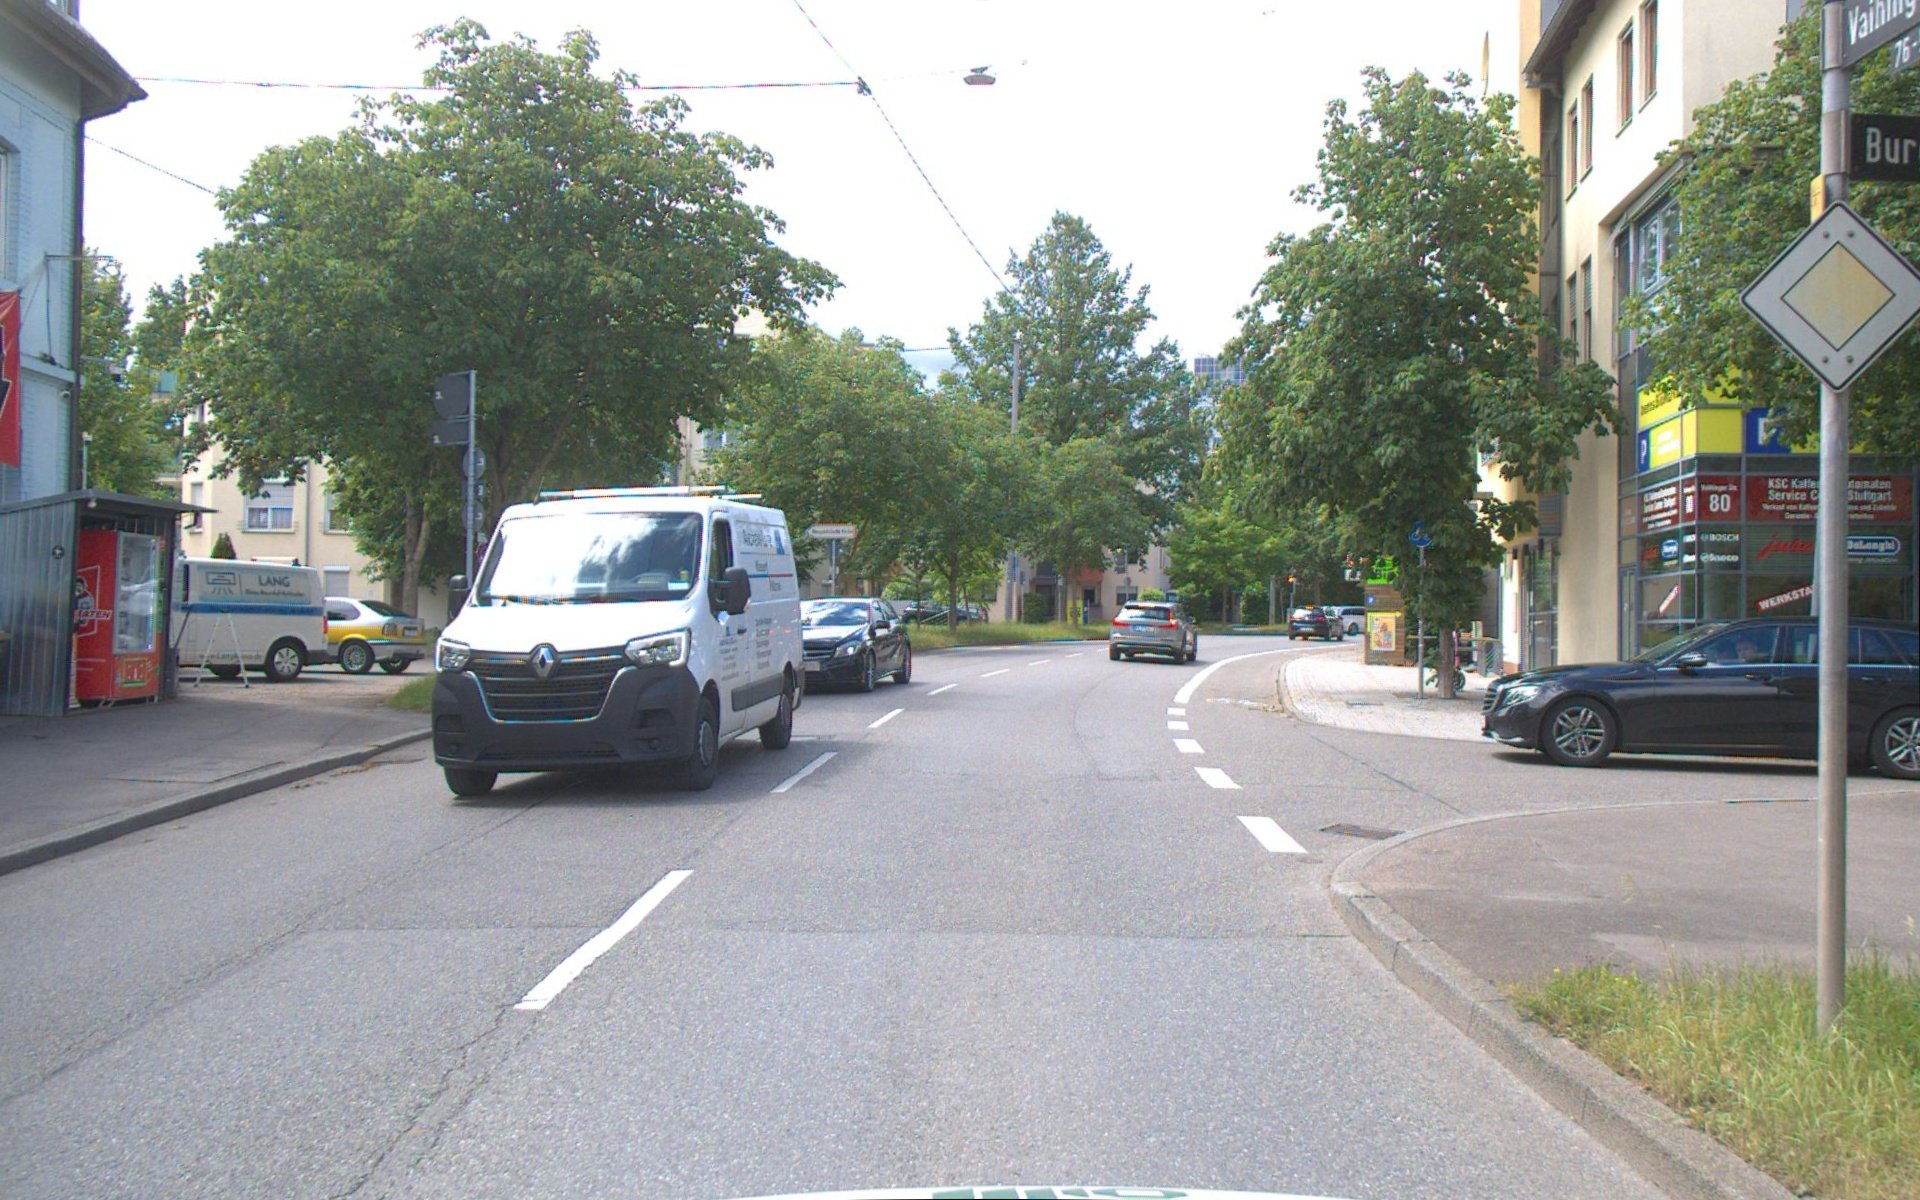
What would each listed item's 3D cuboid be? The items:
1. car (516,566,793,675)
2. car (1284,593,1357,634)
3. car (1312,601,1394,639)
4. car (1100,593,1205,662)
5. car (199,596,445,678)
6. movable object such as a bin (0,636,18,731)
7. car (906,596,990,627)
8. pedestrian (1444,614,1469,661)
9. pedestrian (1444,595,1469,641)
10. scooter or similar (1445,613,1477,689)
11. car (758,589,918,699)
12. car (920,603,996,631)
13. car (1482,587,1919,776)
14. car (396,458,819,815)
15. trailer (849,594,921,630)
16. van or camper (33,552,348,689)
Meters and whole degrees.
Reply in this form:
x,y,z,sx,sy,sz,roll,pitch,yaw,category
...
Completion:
x,y,z,sx,sy,sz,roll,pitch,yaw,category
-6.189,0.420,33.690,5.101,2.028,2.110,-2,0,15,car
15.261,0.560,69.907,1.771,1.549,4.321,4,1,30,car
20.219,1.028,84.927,4.285,1.644,1.786,4,0,-39,car
4.910,0.646,41.698,1.915,1.549,4.332,2,1,16,car
-12.040,0.690,31.335,3.931,1.438,1.817,1,-1,9,car
-9.908,0.840,16.749,0.437,0.949,0.517,2,-1,-5,movable object such as a bin
-0.620,0.602,85.341,3.990,1.424,1.796,1,-4,13,car
13.158,1.004,43.847,0.564,1.225,0.503,1,-1,14,pedestrian
13.405,0.486,44.682,0.510,1.202,0.501,1,-1,3,pedestrian
9.152,0.925,30.237,0.373,1.339,1.460,1,-1,10,scooter or similar
-1.817,0.641,25.953,1.651,1.508,4.229,-3,-1,7,car
-0.117,0.966,94.331,3.990,1.424,1.796,1,-4,13,car
7.598,0.760,16.179,4.572,1.657,1.811,1,-1,12,car
-2.668,0.226,14.029,2.019,2.394,5.186,-2,1,5,car
-4.304,0.704,95.393,3.823,1.830,1.632,1,-4,10,trailer
-12.374,0.349,26.883,1.753,2.028,4.368,0,-1,32,van or camper
